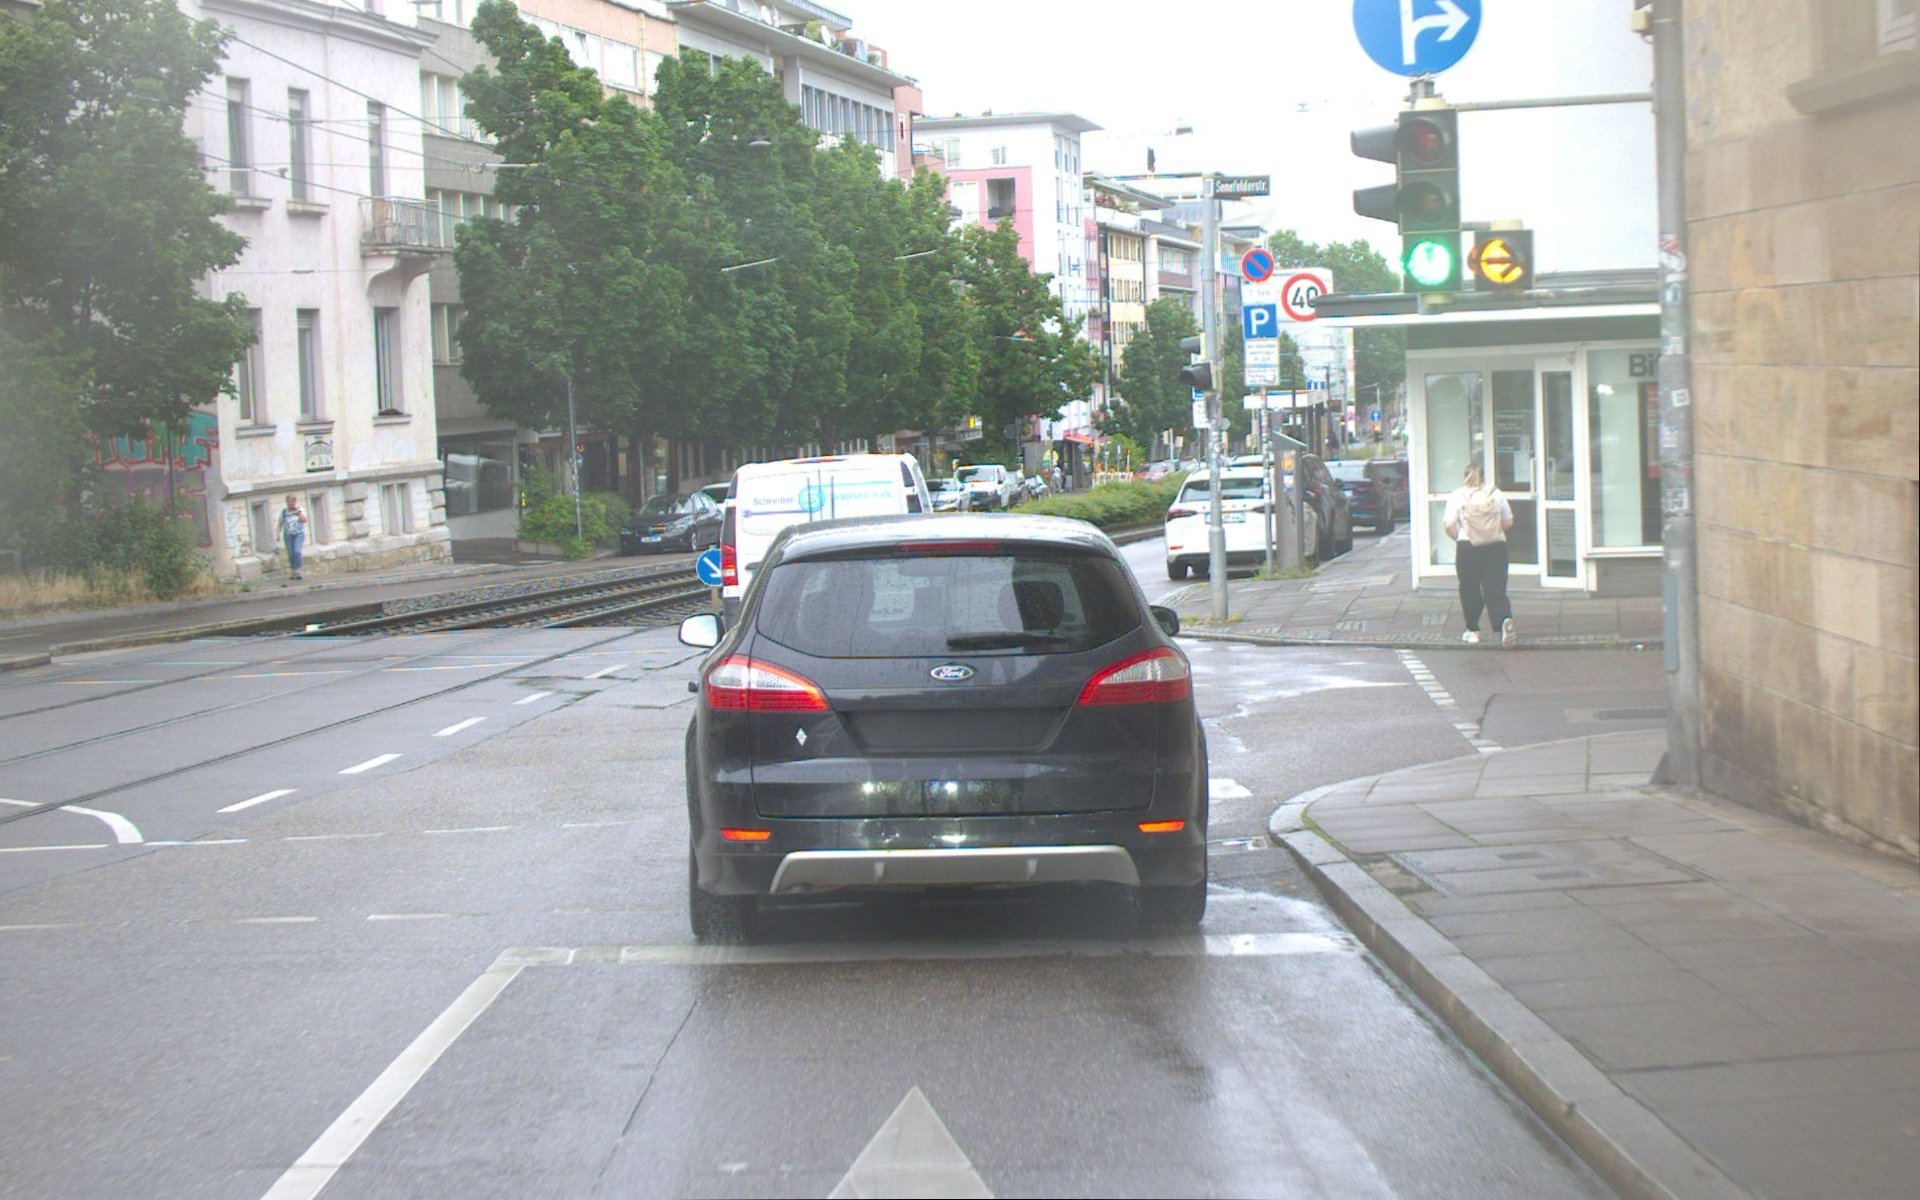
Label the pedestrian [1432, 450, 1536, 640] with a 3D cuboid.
[{"bbox_3d":[4.445,-0.467,29.195,0.688,1.566,0.763,-3,1,-1],"label":"pedestrian"}]

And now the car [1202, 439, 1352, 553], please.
[{"bbox_3d":[4.942,-1.597,53.113,1.846,1.627,4.585,-1,1,11],"label":"car"}]

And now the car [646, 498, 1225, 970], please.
[{"bbox_3d":[-0.081,0.396,12.966,1.842,1.502,4.000,0,1,0],"label":"car"}]

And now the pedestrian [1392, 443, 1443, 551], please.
[{"bbox_3d":[8.042,-1.822,60.391,0.703,1.813,0.961,-4,3,10],"label":"pedestrian"}]

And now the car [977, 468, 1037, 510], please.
[{"bbox_3d":[1.883,-4.374,136.201,1.695,1.568,4.044,-1,1,10],"label":"car"}]

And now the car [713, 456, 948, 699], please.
[{"bbox_3d":[-1.130,-0.231,31.431,1.988,2.053,4.645,0,1,-1],"label":"car"}]

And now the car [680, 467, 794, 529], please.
[{"bbox_3d":[-5.823,-2.660,90.439,1.856,1.543,4.719,-1,1,10],"label":"car"}]

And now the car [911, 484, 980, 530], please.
[{"bbox_3d":[-0.501,-3.228,120.290,1.668,1.553,4.044,-1,1,10],"label":"car"}]

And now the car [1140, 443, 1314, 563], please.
[{"bbox_3d":[3.664,-1.302,46.568,1.802,1.450,4.585,-3,1,11],"label":"car"}]

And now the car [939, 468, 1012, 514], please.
[{"bbox_3d":[0.606,-4.095,129.709,1.856,1.631,4.933,-1,1,10],"label":"car"}]

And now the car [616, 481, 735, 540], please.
[{"bbox_3d":[-6.943,-2.175,84.288,1.694,1.373,4.719,-1,1,10],"label":"car"}]

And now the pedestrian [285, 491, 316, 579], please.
[{"bbox_3d":[-12.415,-1.231,64.712,0.467,1.646,0.582,0,1,-2],"label":"pedestrian"}]
